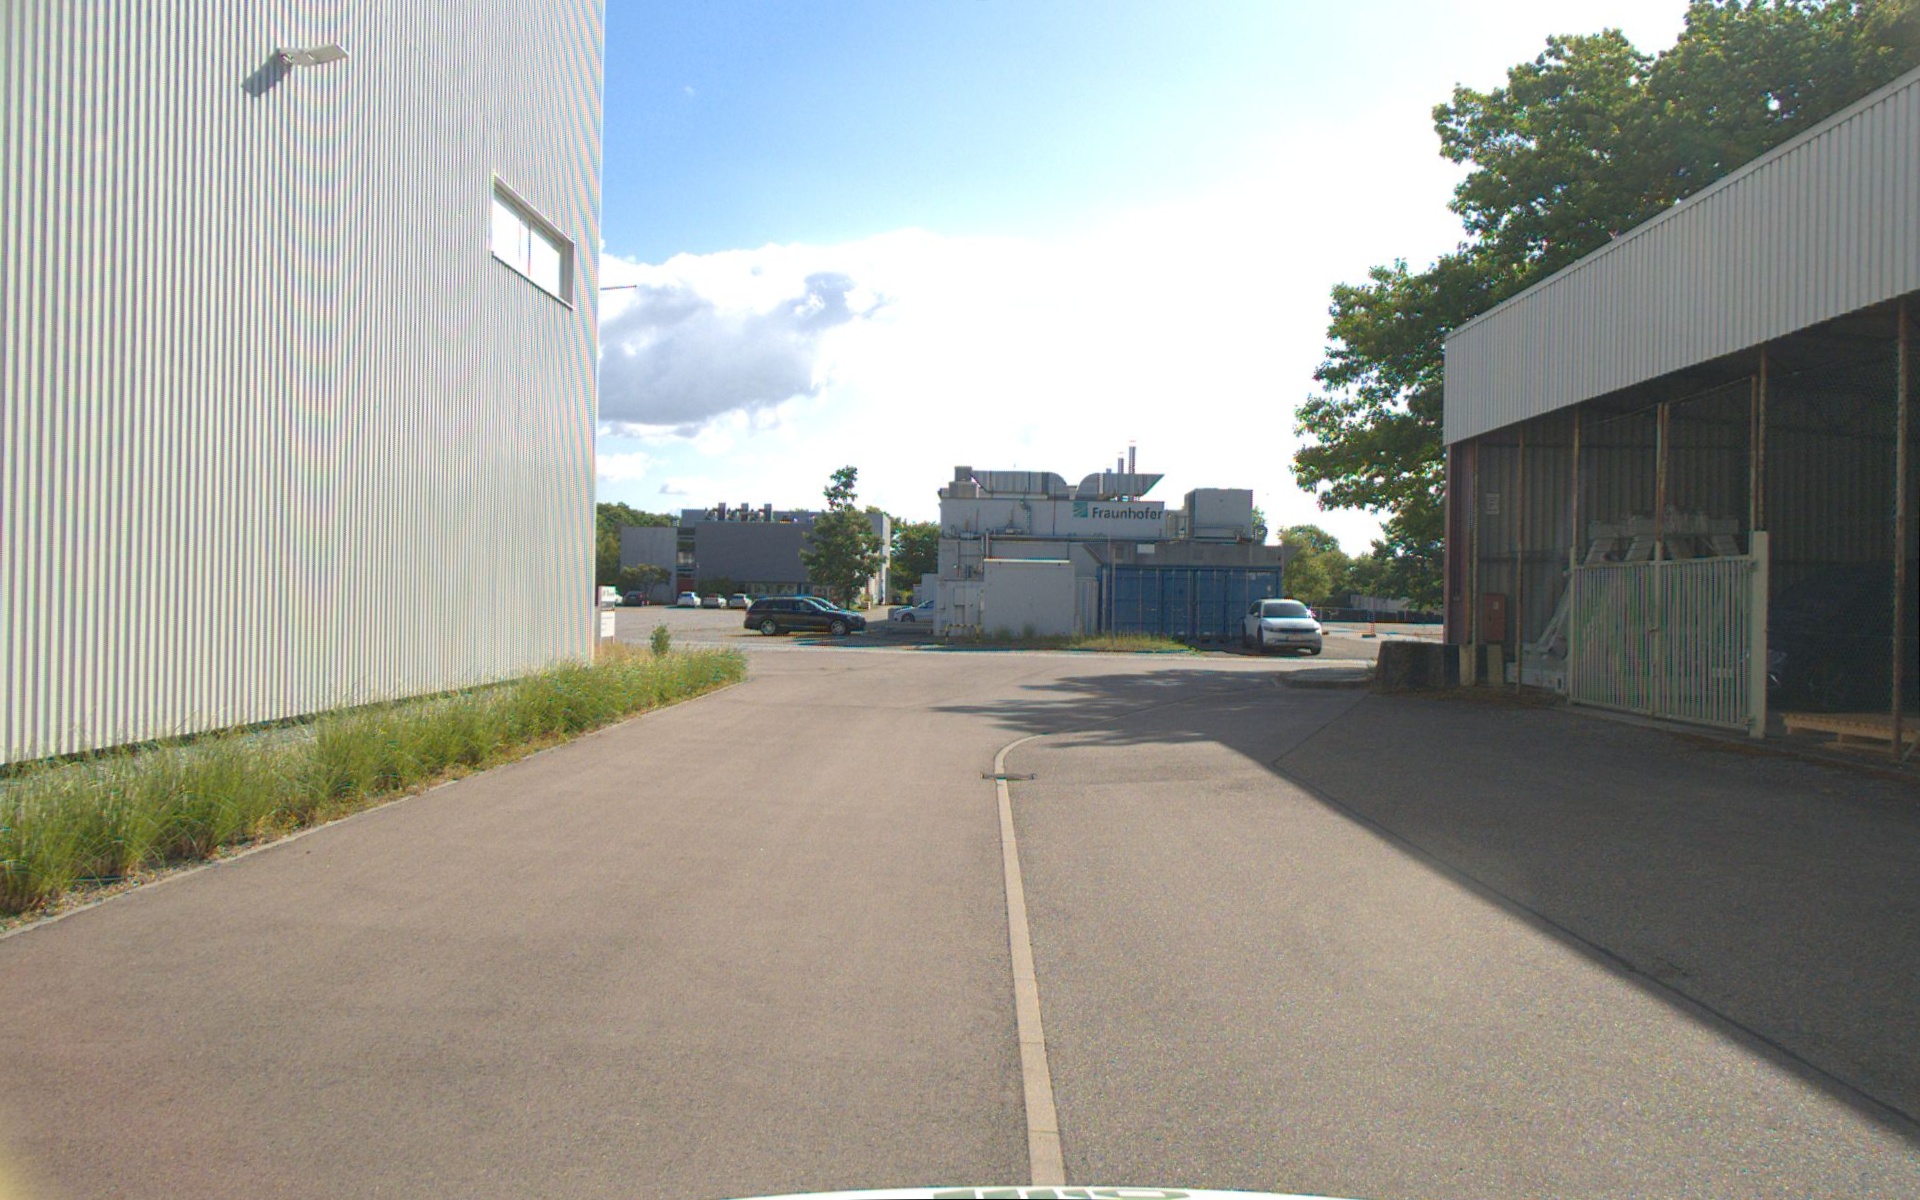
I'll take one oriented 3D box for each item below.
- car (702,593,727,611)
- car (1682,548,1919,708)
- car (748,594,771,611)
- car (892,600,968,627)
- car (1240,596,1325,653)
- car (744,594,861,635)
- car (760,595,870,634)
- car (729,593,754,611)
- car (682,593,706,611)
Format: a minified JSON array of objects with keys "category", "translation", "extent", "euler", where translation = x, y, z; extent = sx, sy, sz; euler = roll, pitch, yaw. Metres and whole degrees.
[{"category":"car","translation":[-23.926,0.226,161.445],"extent":[1.937,1.707,3.999],"euler":[-1,-1,-1]},{"category":"car","translation":[12.095,0.368,21.442],"extent":[4.678,1.950,1.997],"euler":[0,-1,-8]},{"category":"car","translation":[-19.372,0.244,159.998],"extent":[1.820,1.521,4.028],"euler":[-1,0,-1]},{"category":"car","translation":[-1.649,0.747,92.384],"extent":[4.214,1.483,1.824],"euler":[0,-1,0]},{"category":"car","translation":[10.073,0.729,51.921],"extent":[1.938,1.630,4.379],"euler":[-1,1,2]},{"category":"car","translation":[-6.115,0.575,64.527],"extent":[4.356,1.558,1.824],"euler":[0,-1,0]},{"category":"car","translation":[-5.935,0.602,68.171],"extent":[4.356,1.558,1.824],"euler":[0,-1,0]},{"category":"car","translation":[-21.381,0.176,161.851],"extent":[1.926,1.742,4.028],"euler":[-1,-1,-1]},{"category":"car","translation":[-26.004,0.211,161.851],"extent":[1.761,1.742,4.047],"euler":[-1,-1,-1]}]
